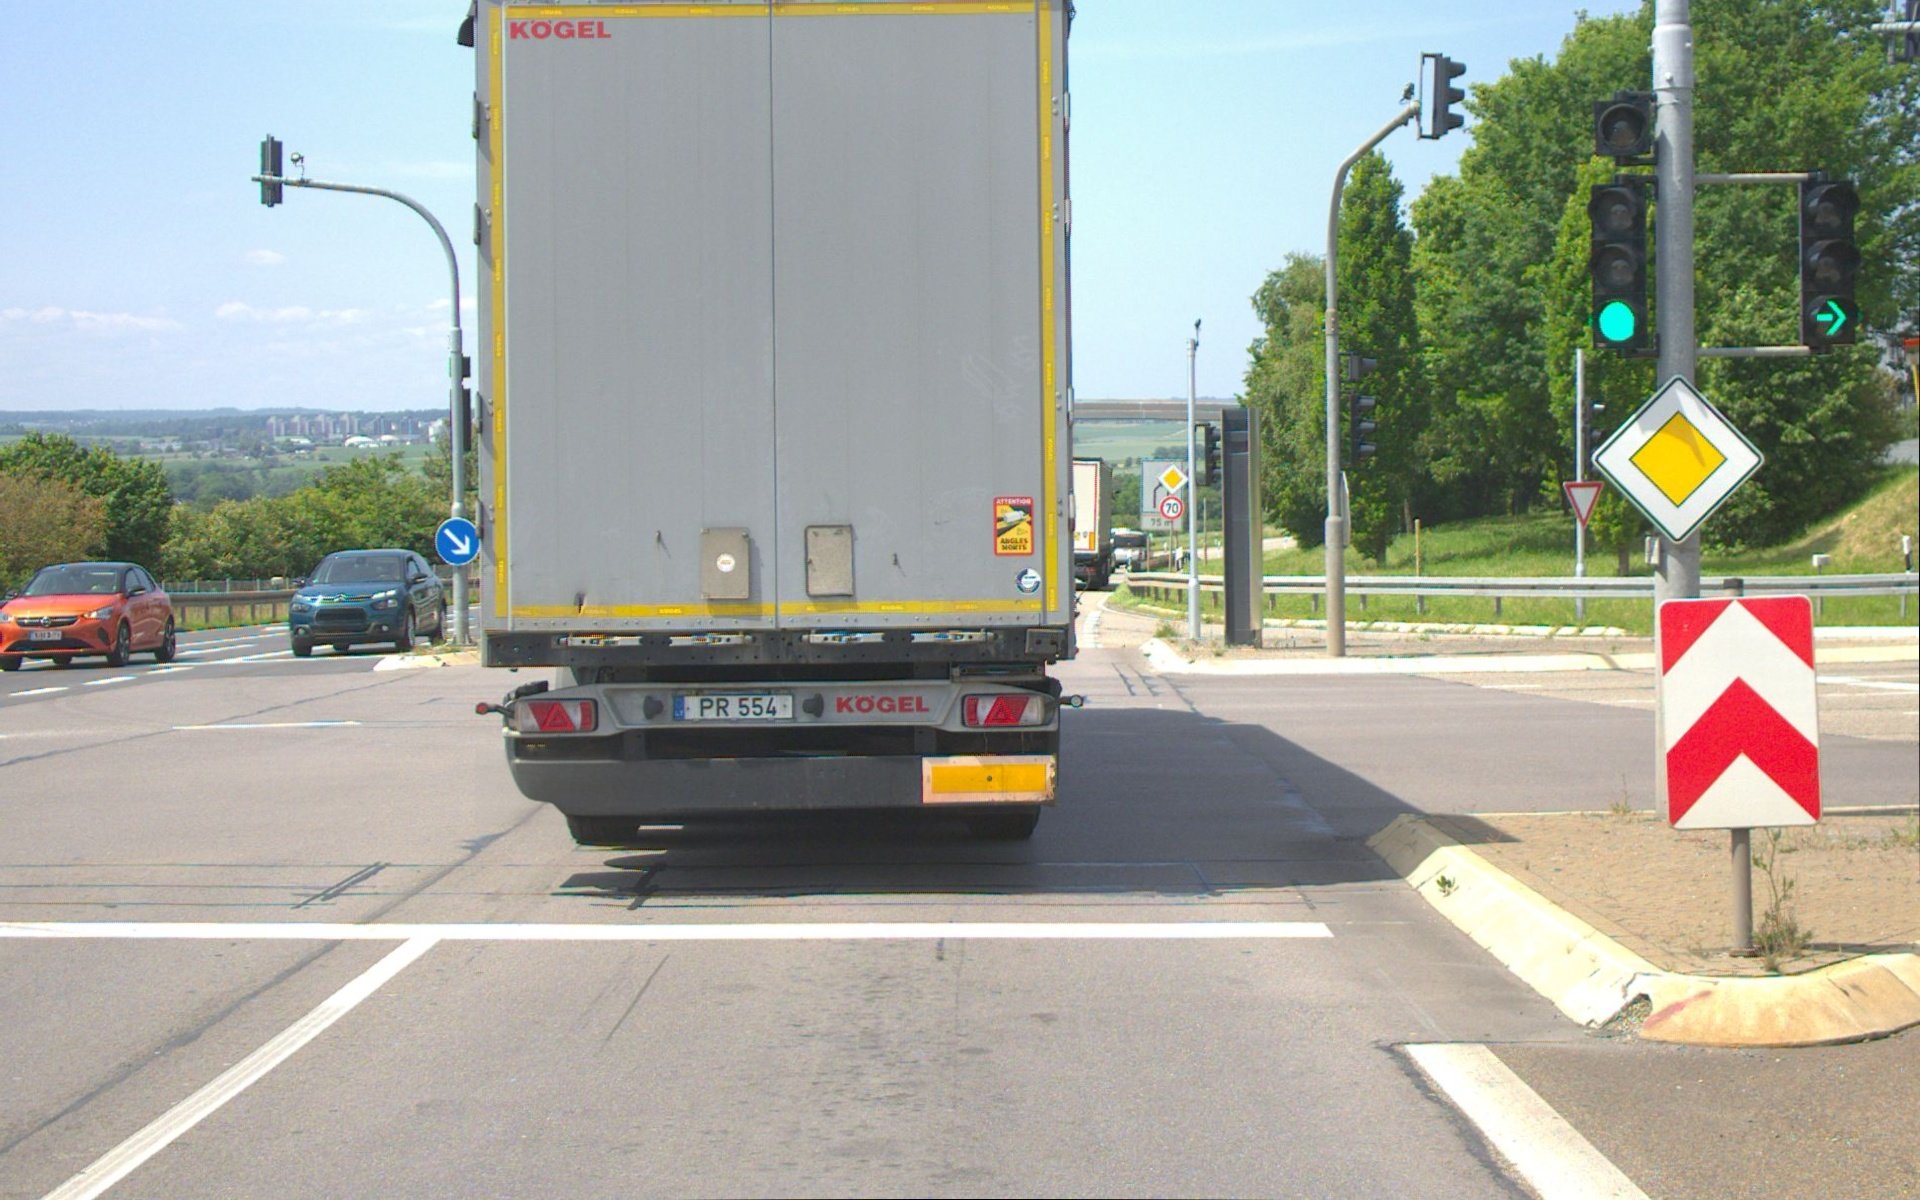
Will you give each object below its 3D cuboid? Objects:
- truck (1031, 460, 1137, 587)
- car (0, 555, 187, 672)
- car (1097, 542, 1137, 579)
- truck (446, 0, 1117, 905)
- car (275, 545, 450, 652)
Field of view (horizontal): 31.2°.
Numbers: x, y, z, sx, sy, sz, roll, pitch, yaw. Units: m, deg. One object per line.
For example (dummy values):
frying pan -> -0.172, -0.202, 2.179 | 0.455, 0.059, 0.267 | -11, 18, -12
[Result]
truck -> 3.969, -2.308, 107.802 | 2.656, 3.752, 10.160 | 1, 0, 6
car -> -12.168, 0.156, 48.123 | 1.644, 1.491, 4.066 | -2, 1, 1
car -> 7.426, -1.860, 162.397 | 1.786, 1.682, 3.999 | 1, 0, 4
truck -> -1.057, -0.762, 20.131 | 2.799, 3.916, 11.343 | 0, 1, -3
car -> -8.720, -0.054, 50.467 | 1.755, 1.464, 4.196 | -1, 1, 1
